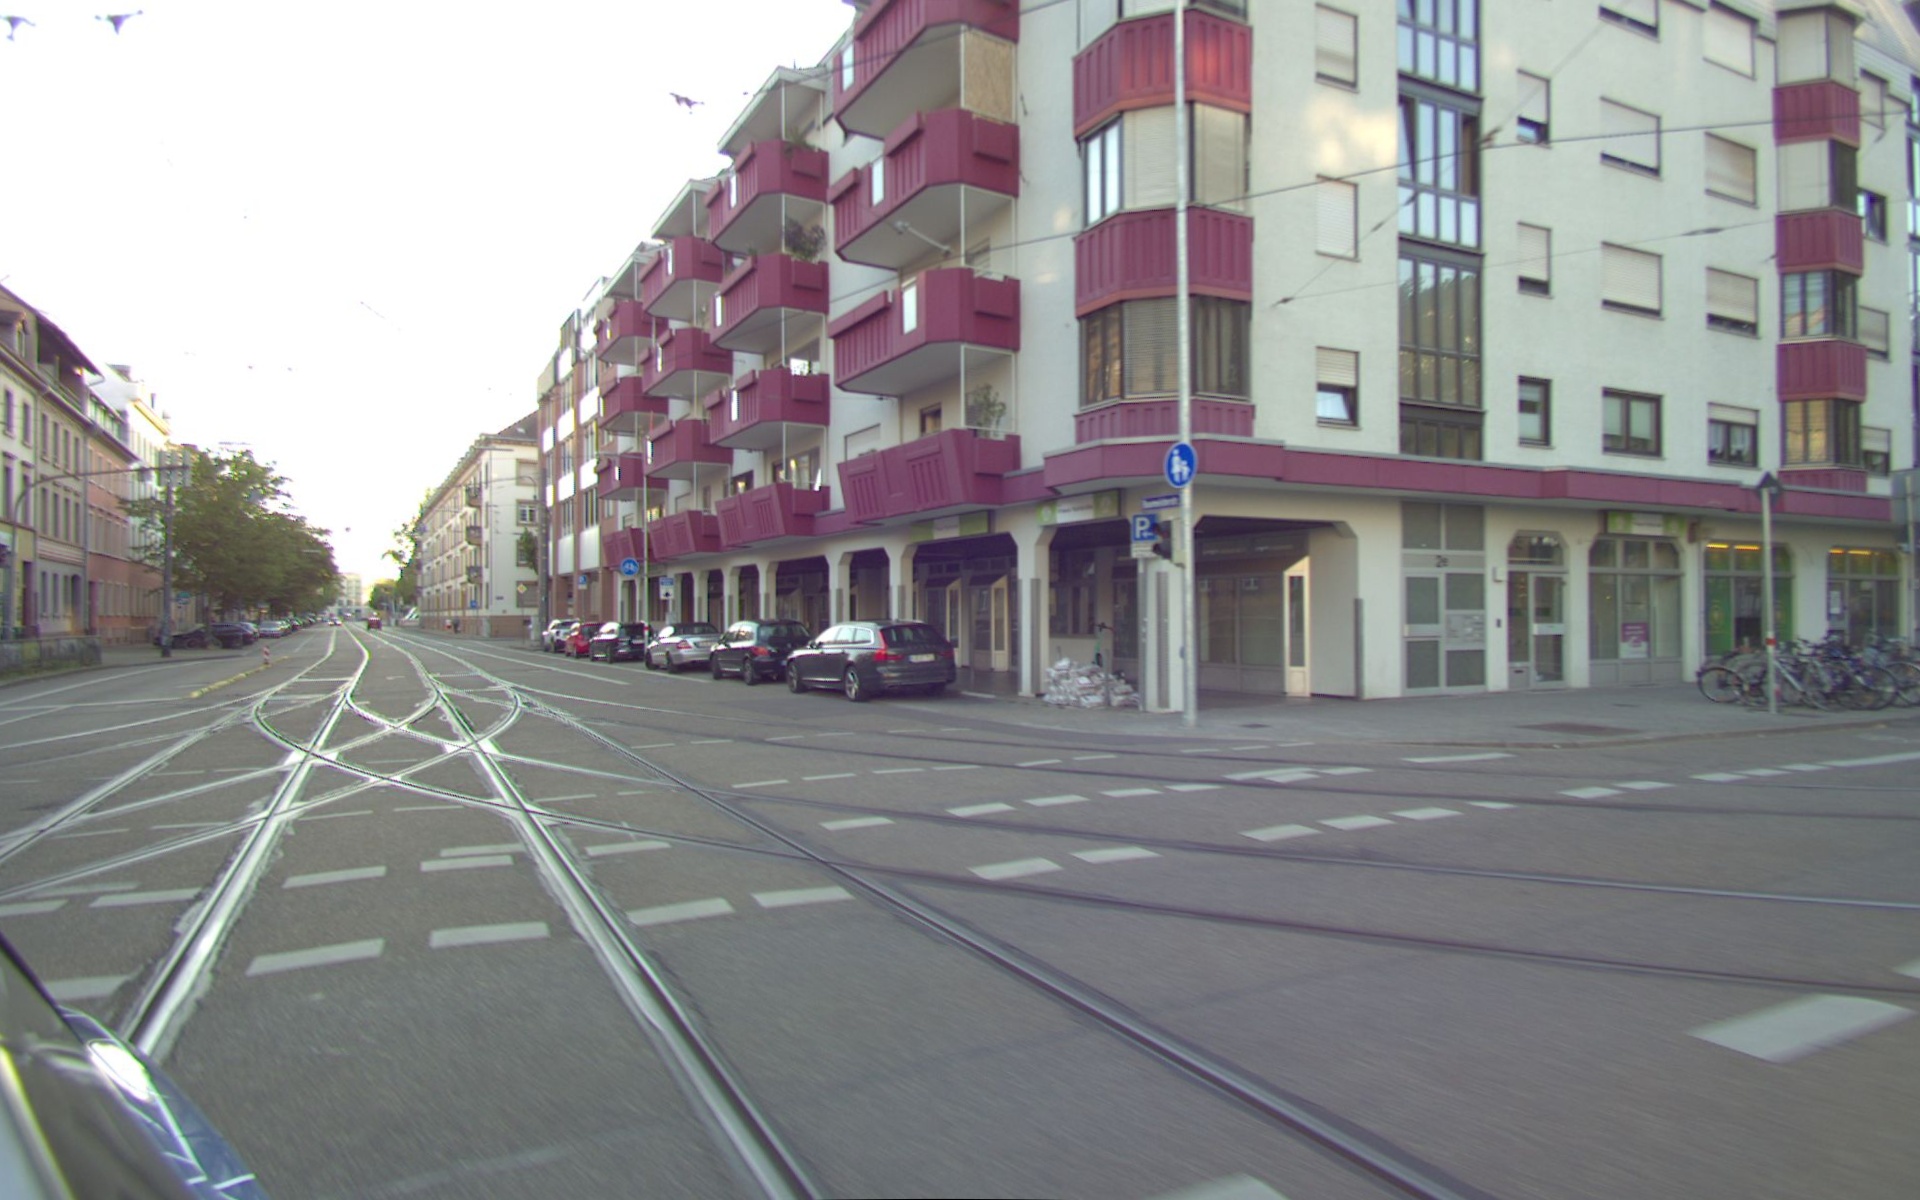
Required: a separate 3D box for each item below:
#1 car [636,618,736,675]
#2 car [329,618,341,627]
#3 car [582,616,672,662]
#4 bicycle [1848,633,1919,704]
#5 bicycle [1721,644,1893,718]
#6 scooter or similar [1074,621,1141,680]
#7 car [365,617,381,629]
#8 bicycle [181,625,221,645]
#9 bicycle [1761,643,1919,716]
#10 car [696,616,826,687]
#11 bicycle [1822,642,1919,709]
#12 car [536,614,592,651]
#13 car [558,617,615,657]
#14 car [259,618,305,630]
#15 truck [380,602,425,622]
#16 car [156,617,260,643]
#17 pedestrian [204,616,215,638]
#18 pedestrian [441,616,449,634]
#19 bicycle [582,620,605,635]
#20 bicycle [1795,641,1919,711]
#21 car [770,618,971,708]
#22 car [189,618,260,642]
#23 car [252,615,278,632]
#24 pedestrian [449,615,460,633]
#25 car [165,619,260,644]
[{"bbox_3d":[-8.133,1.302,29.759,1.668,1.424,4.691,-3,0,-29],"label":"car"},{"bbox_3d":[-120.492,4.303,195.085,1.966,1.696,4.011,-1,-1,-32],"label":"car"},{"bbox_3d":[-12.265,1.389,37.120,1.967,1.490,4.494,-3,1,-34],"label":"car"},{"bbox_3d":[15.178,1.078,15.874,0.490,1.069,1.847,0,-1,-20],"label":"bicycle"},{"bbox_3d":[12.463,1.162,14.964,0.662,0.965,1.847,0,-1,-20],"label":"bicycle"},{"bbox_3d":[3.045,1.025,21.028,0.541,1.174,1.484,0,-1,-31],"label":"scooter or similar"},{"bbox_3d":[-78.293,3.051,134.882,1.538,1.570,3.764,1,-2,-34],"label":"car"},{"bbox_3d":[-42.406,1.954,56.548,1.667,1.110,0.930,2,-2,-32],"label":"bicycle"},{"bbox_3d":[13.277,1.160,15.220,0.662,0.965,1.847,0,-1,-20],"label":"bicycle"},{"bbox_3d":[-4.977,1.182,24.924,1.763,1.519,4.212,-2,0,-31],"label":"car"},{"bbox_3d":[14.584,1.164,15.688,0.490,0.965,1.847,0,-1,-20],"label":"bicycle"},{"bbox_3d":[-18.519,1.469,47.188,1.693,1.567,4.216,-2,0,-31],"label":"car"},{"bbox_3d":[-15.521,1.492,41.961,1.589,1.490,3.490,-3,1,-30],"label":"car"},{"bbox_3d":[-82.391,2.926,122.961,1.719,1.475,4.332,-2,-2,40],"label":"car"},{"bbox_3d":[-103.981,2.197,188.806,6.964,3.454,2.572,-1,-1,-35],"label":"truck"},{"bbox_3d":[-43.599,1.762,58.781,1.706,1.468,4.566,-1,-2,33],"label":"car"},{"bbox_3d":[-63.522,2.265,85.688,0.671,1.830,0.602,0,-1,-31],"label":"pedestrian"},{"bbox_3d":[-47.927,2.316,94.123,0.582,1.622,0.813,0,-1,-34],"label":"pedestrian"},{"bbox_3d":[-29.470,2.202,81.310,0.604,1.222,1.661,-1,-1,41],"label":"bicycle"},{"bbox_3d":[14.006,1.147,15.476,0.586,0.965,1.847,0,-1,-20],"label":"bicycle"},{"bbox_3d":[-1.913,1.112,19.738,1.826,1.468,5.101,-1,-1,-31],"label":"car"},{"bbox_3d":[-49.678,2.024,68.398,1.738,1.528,3.527,-1,-2,33],"label":"car"},{"bbox_3d":[-59.186,1.971,86.260,1.596,1.391,3.787,2,-2,-32],"label":"car"},{"bbox_3d":[-47.193,2.237,94.393,0.785,1.714,0.984,0,-1,-34],"label":"pedestrian"},{"bbox_3d":[-47.150,1.980,63.942,2.059,1.528,4.405,-1,-2,35],"label":"car"}]
